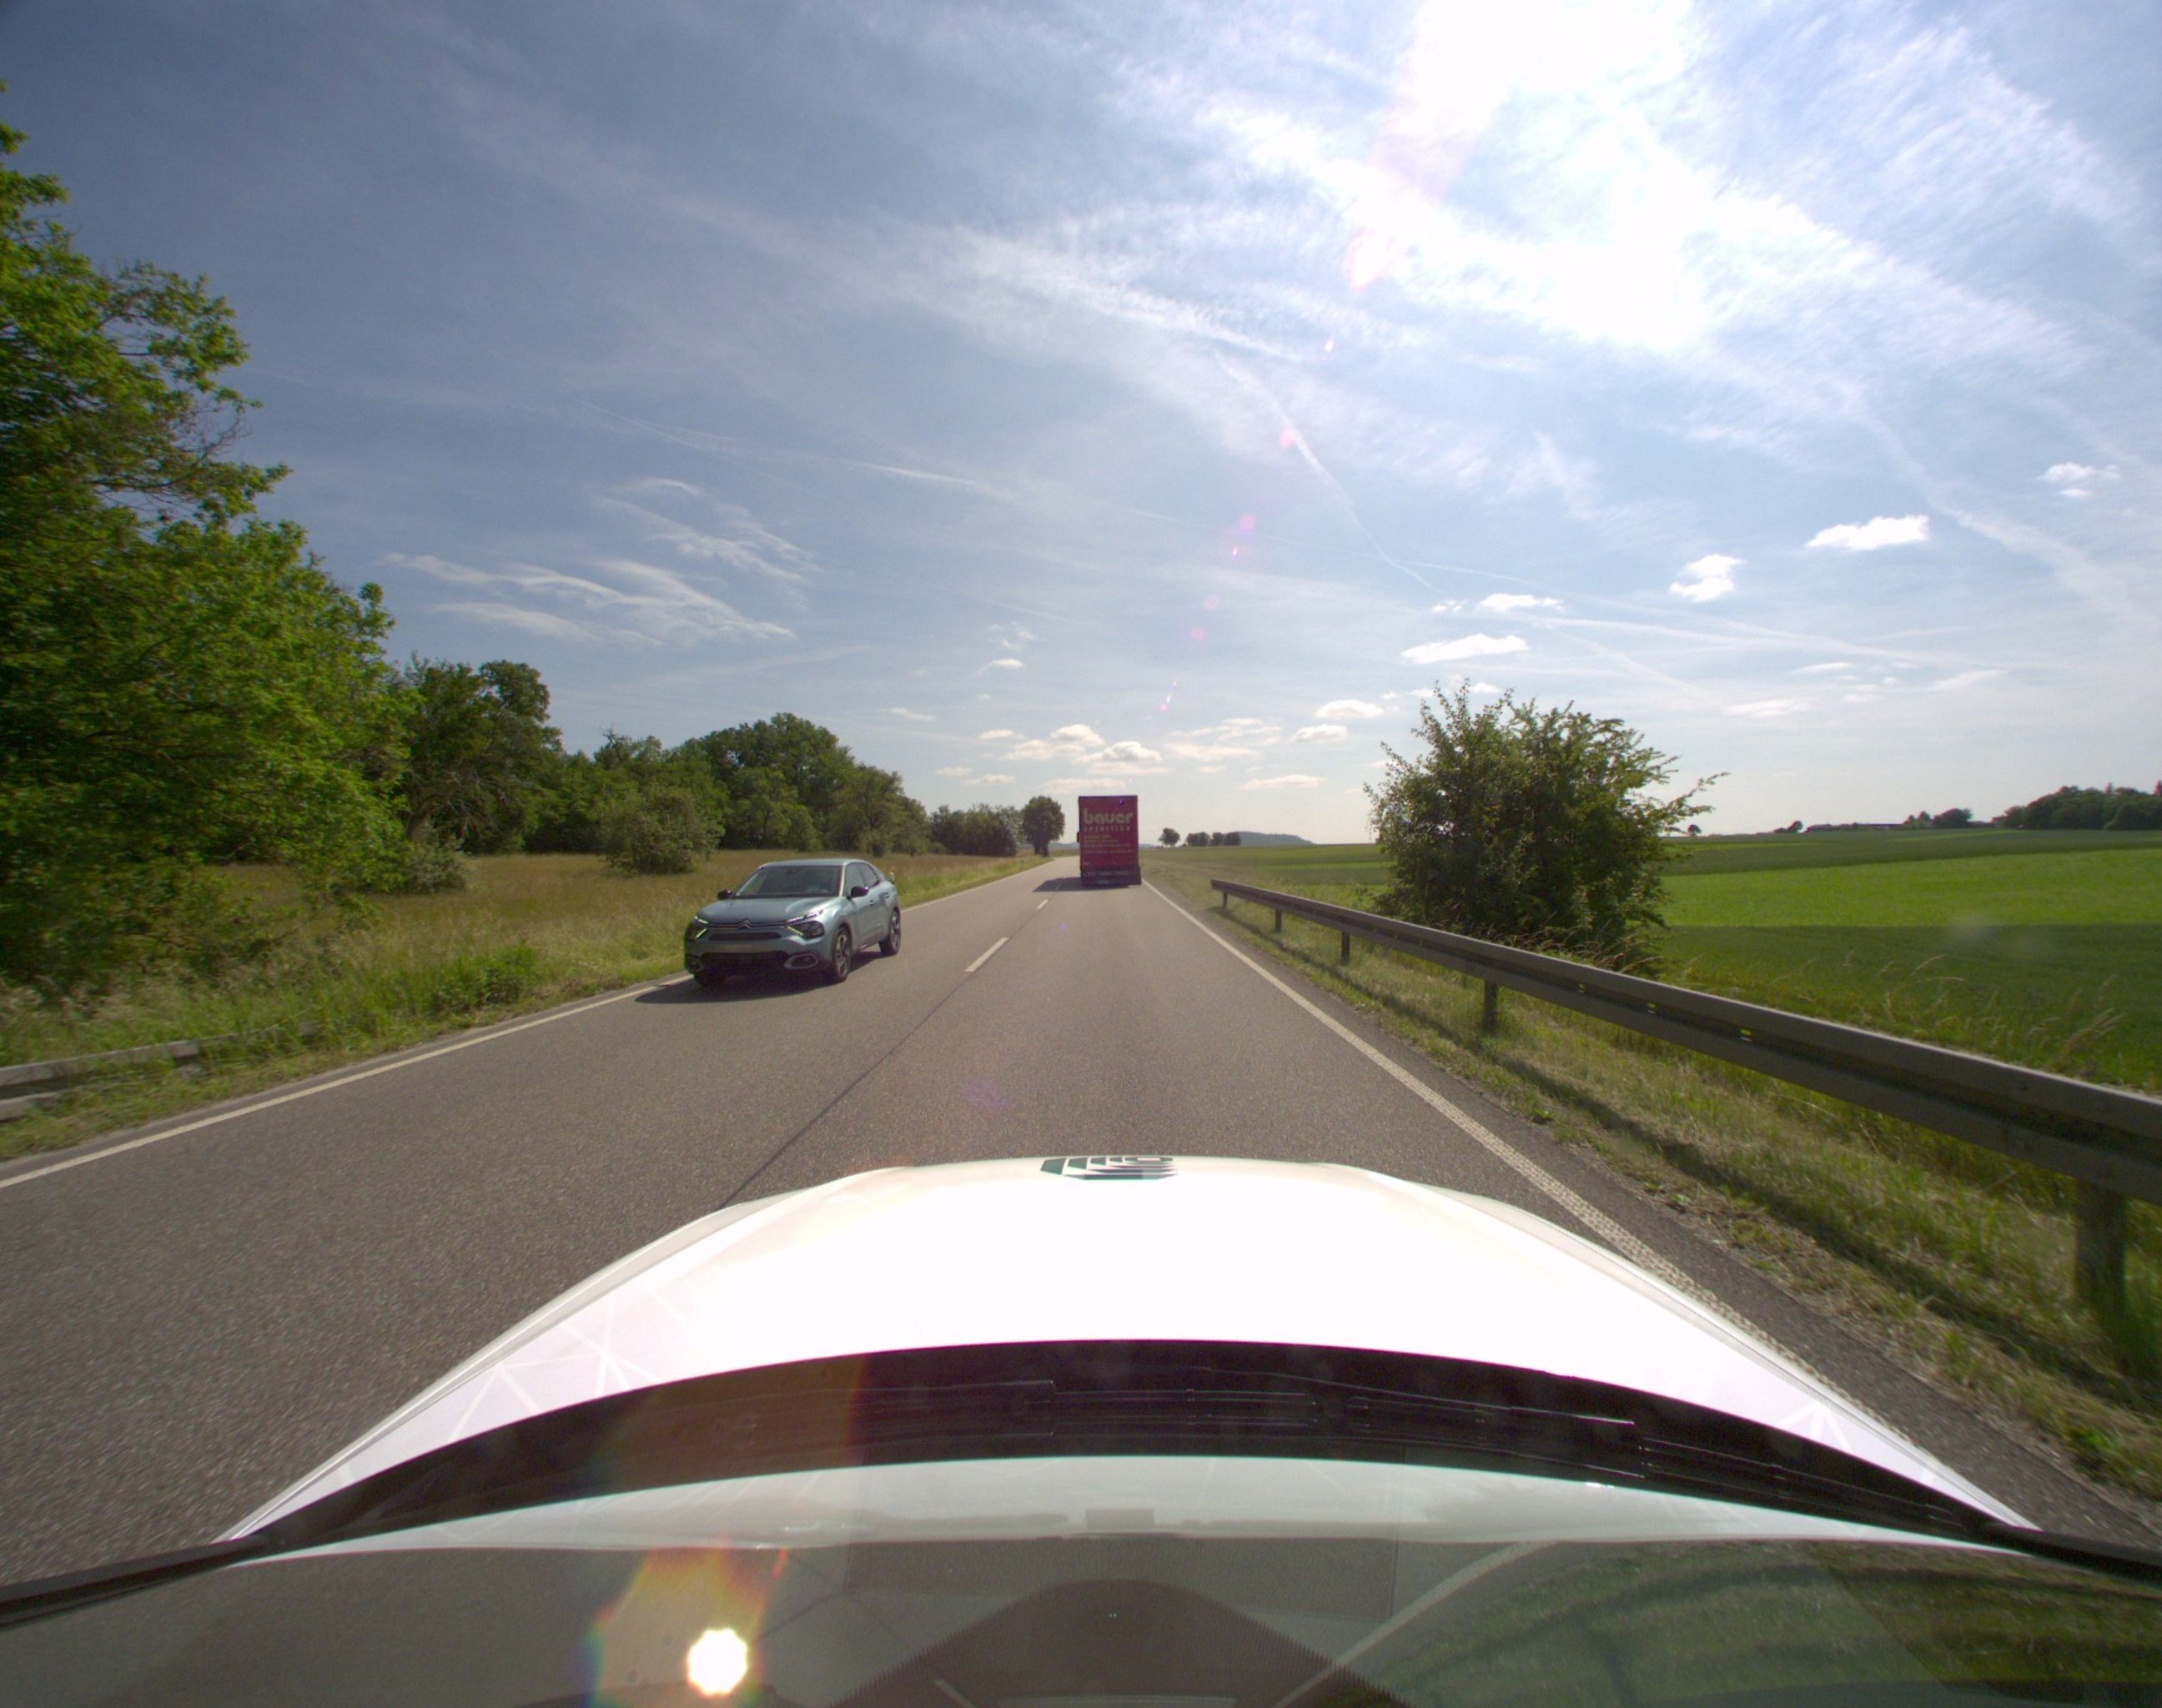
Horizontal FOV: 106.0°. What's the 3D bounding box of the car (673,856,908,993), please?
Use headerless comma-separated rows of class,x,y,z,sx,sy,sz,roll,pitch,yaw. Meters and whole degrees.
car,-3.759,0.811,11.372,1.739,1.515,4.053,-1,0,1

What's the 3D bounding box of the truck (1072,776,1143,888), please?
truck,1.199,-0.904,39.168,2.965,4.713,9.366,-1,-1,1
